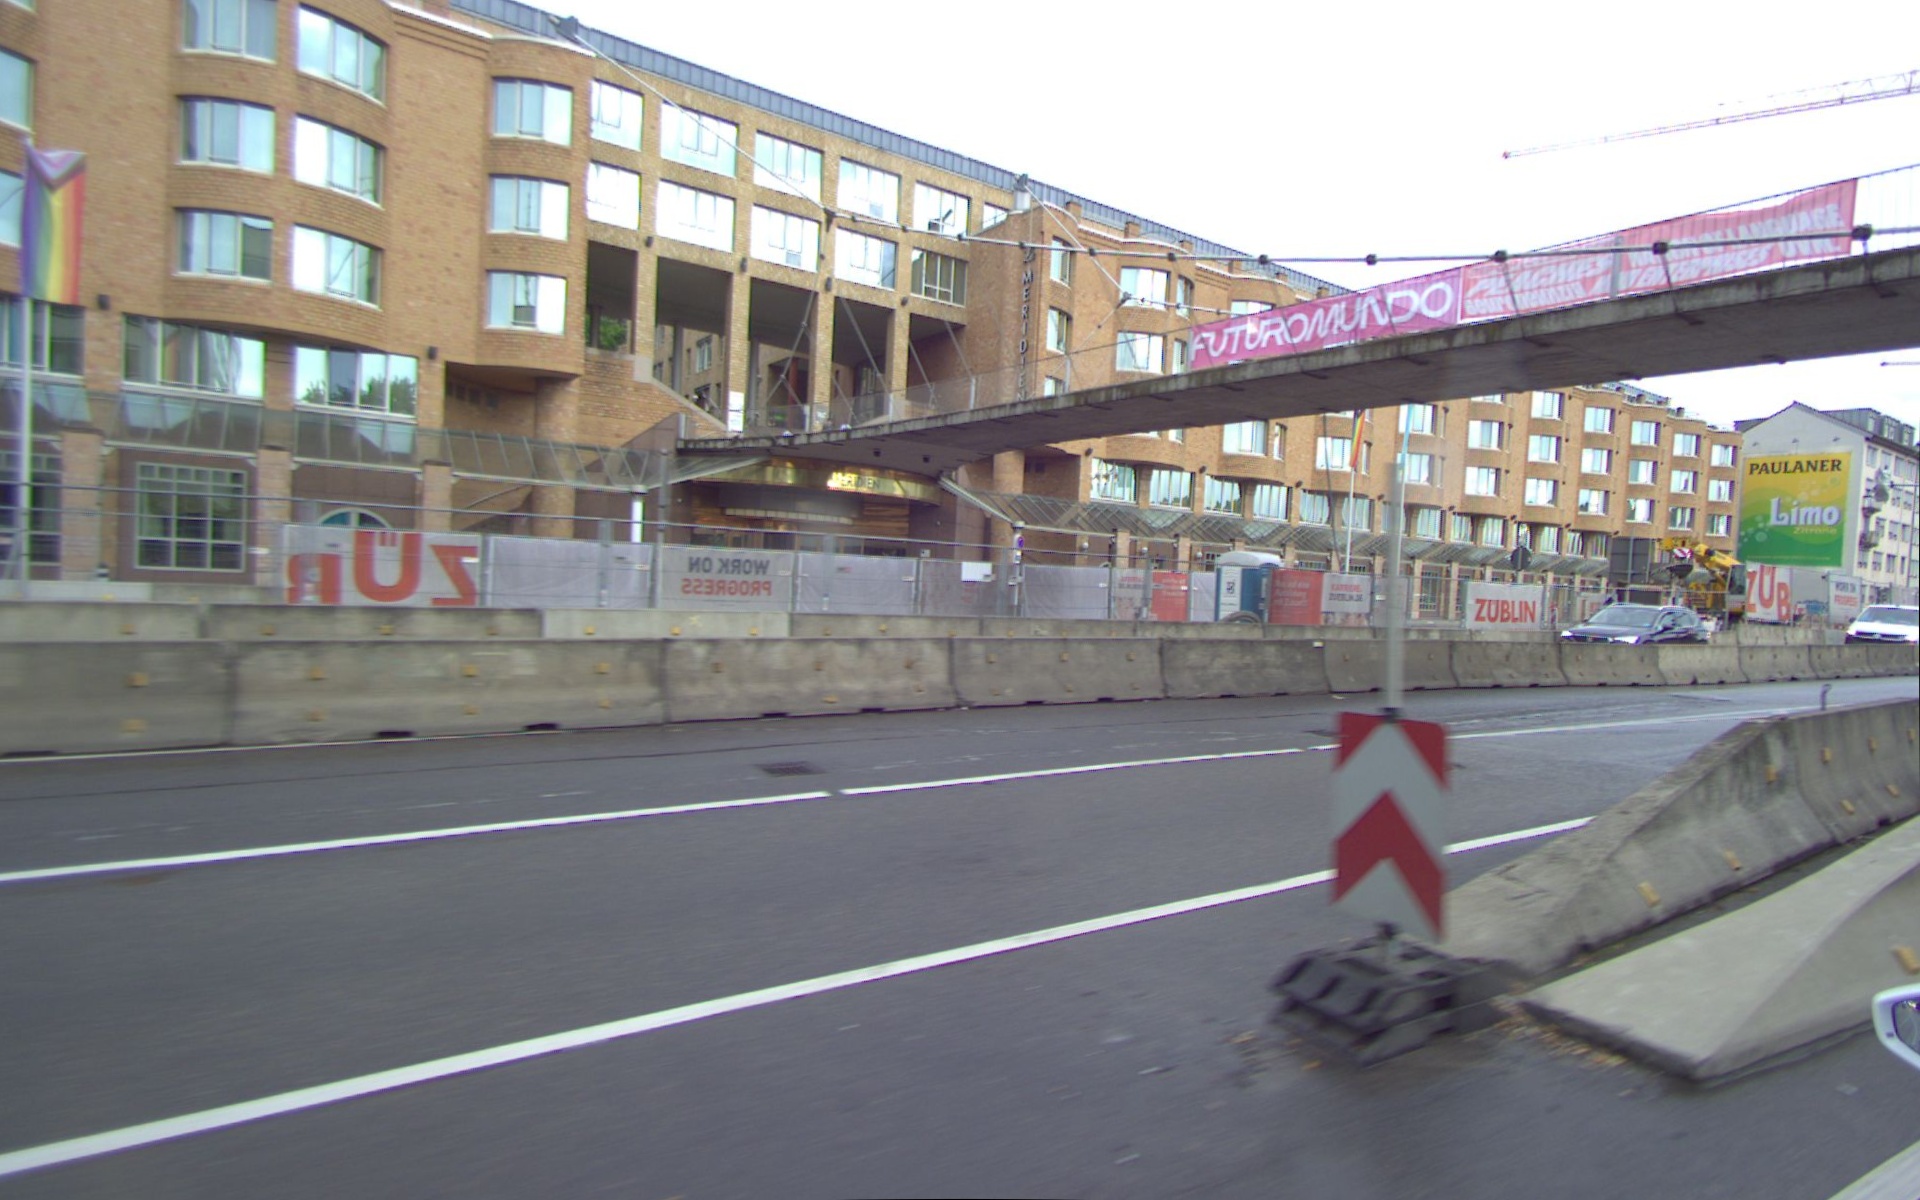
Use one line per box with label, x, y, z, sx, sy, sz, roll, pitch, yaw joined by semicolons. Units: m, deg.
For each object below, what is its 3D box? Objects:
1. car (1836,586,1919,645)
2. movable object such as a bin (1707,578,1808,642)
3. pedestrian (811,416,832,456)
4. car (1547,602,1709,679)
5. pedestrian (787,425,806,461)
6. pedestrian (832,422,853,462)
car;31.937;0.476;34.086;5.240;1.846;1.796;0;2;-32
movable object such as a bin;30.662;0.397;38.597;4.252;2.308;2.012;1;-1;-36
pedestrian;-5.511;-6.531;39.969;0.611;1.471;0.617;0;2;-30
car;16.234;0.910;24.388;3.858;1.645;1.796;0;2;-31
pedestrian;-7.265;-6.966;44.615;0.611;1.471;0.617;0;2;-30
pedestrian;-4.702;-6.281;40.097;0.611;1.471;0.617;0;2;-30
